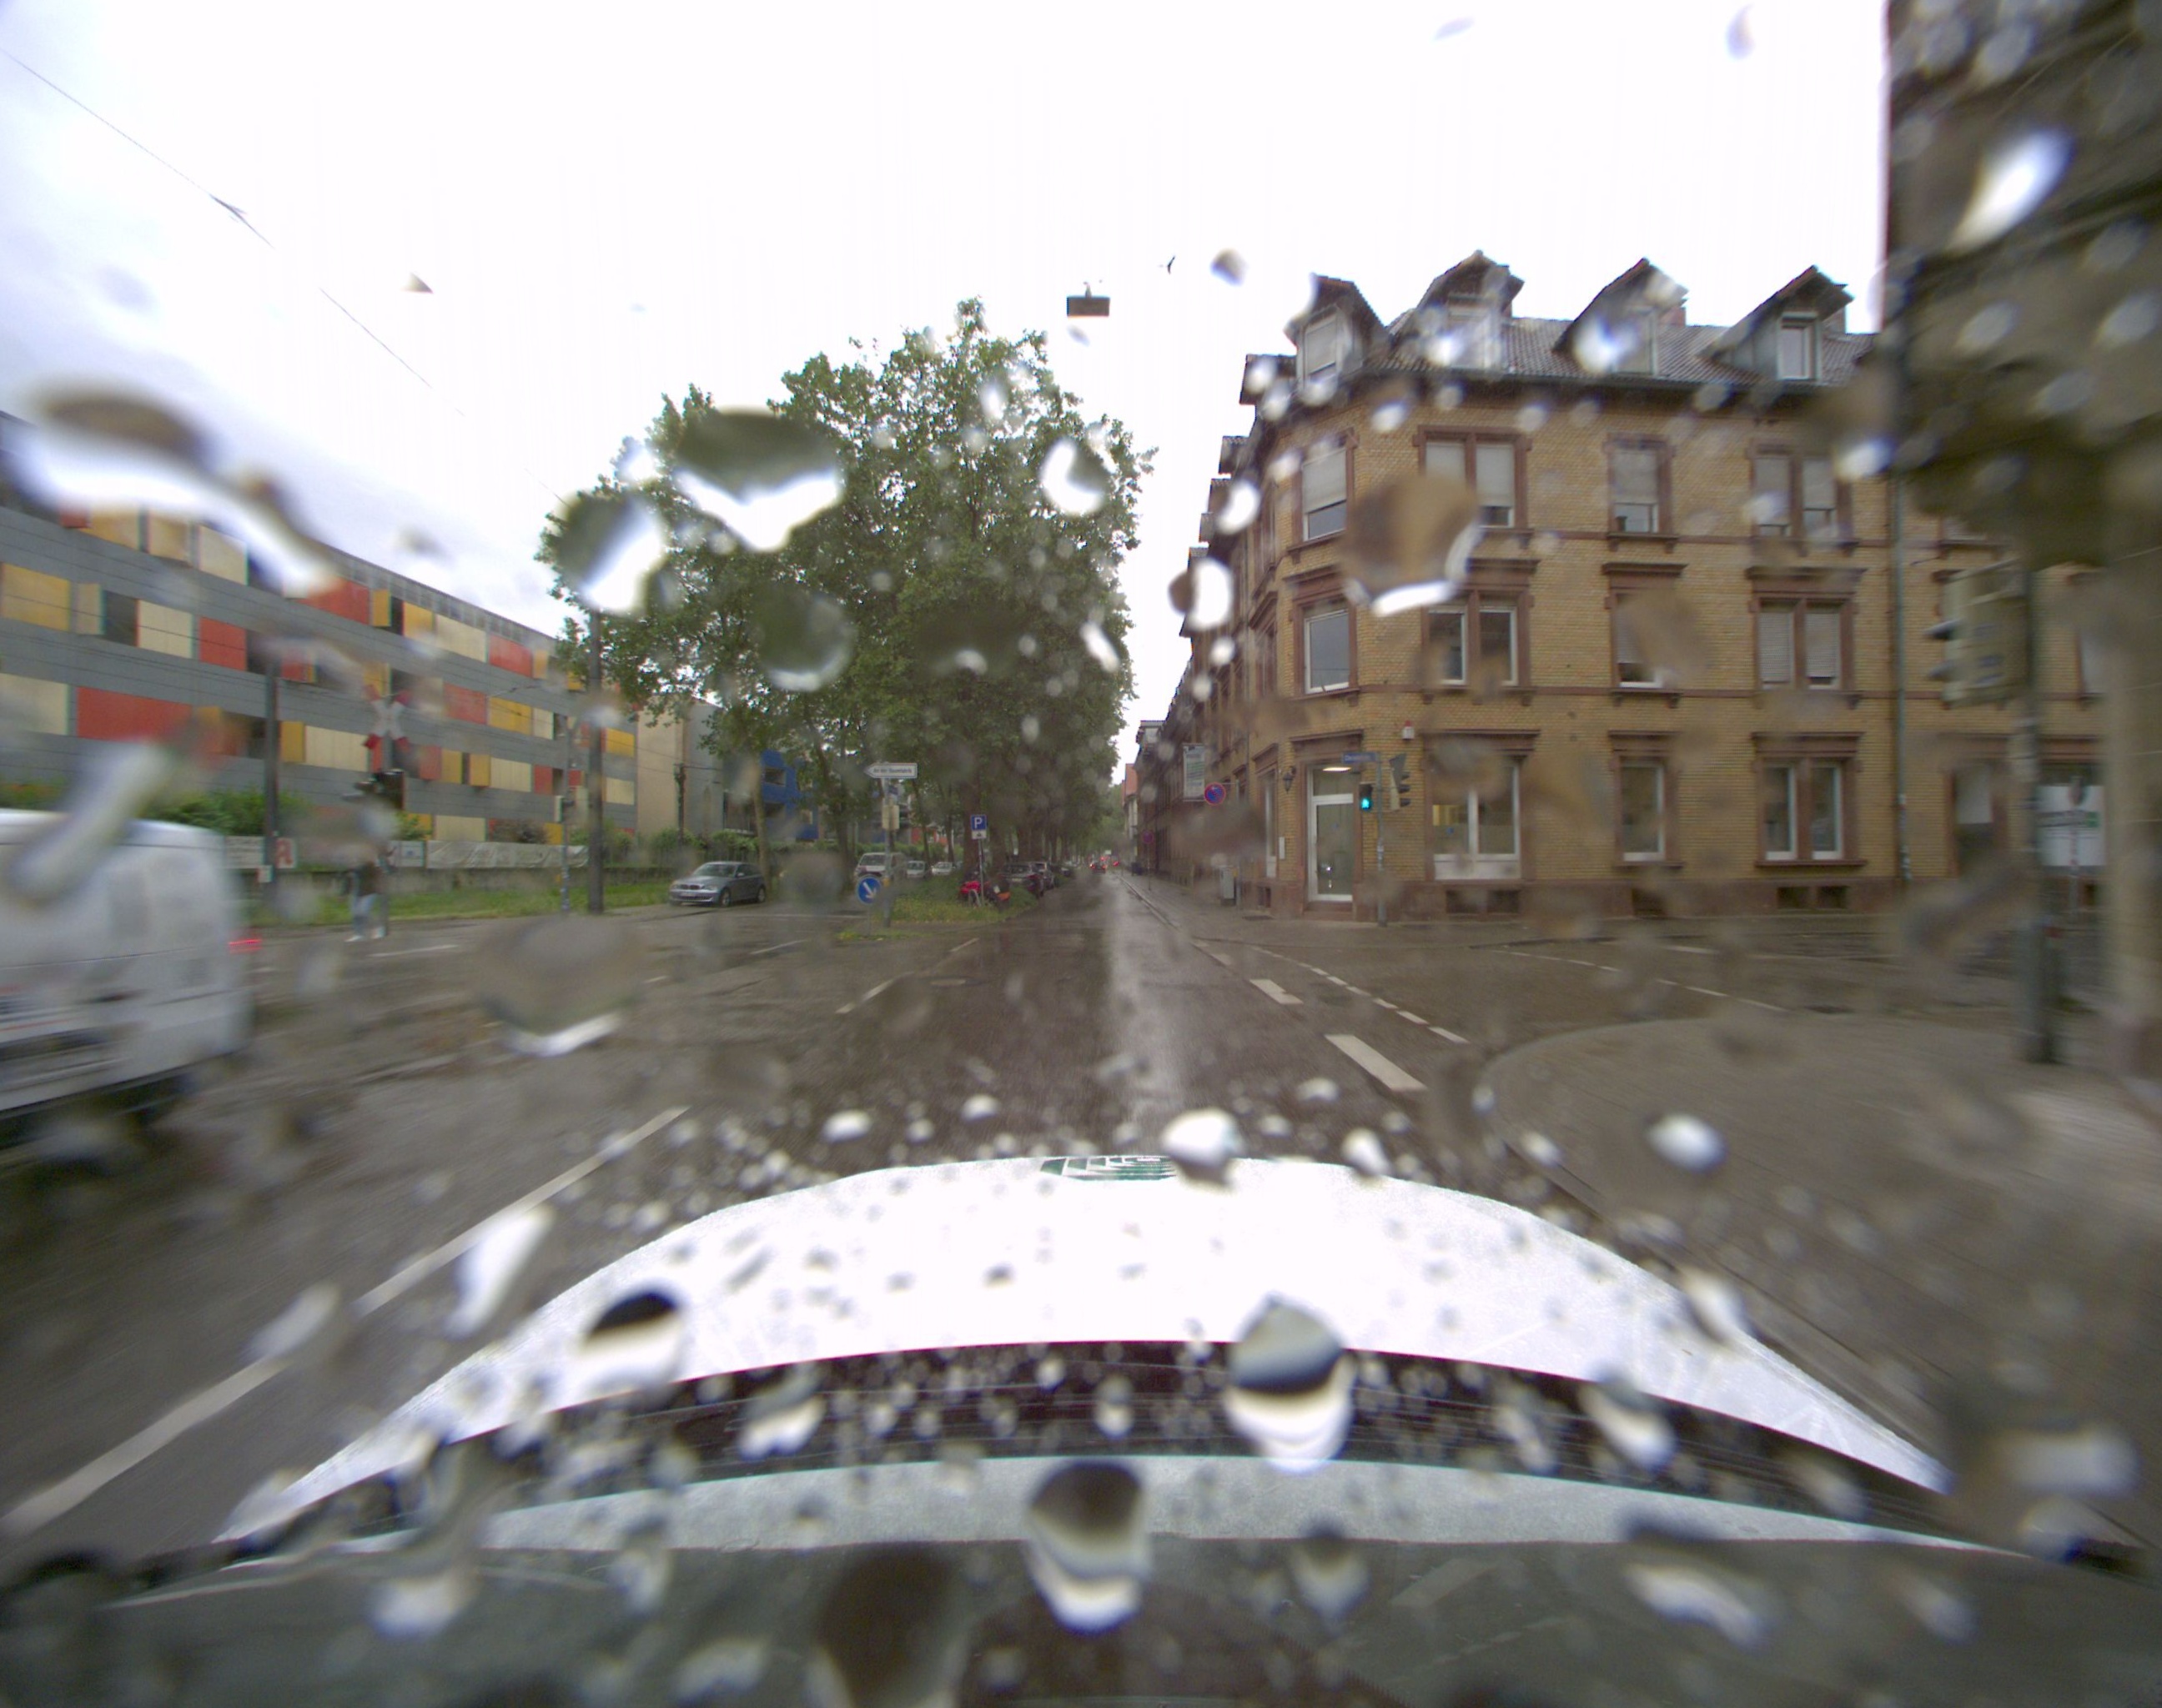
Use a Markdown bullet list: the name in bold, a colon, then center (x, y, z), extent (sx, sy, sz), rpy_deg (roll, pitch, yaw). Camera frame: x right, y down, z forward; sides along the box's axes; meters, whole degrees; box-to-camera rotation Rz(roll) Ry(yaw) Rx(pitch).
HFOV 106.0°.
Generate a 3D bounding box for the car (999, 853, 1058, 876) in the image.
- **car**: center (-3.482, 0.702, 54.070), extent (3.459, 1.436, 1.792), rpy_deg (-1, -1, 28)

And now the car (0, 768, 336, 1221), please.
- **car**: center (-6.496, 0.577, 3.798), extent (4.048, 1.849, 1.934), rpy_deg (0, 0, -7)

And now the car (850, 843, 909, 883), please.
- **car**: center (-11.046, 0.483, 45.138), extent (2.049, 1.997, 5.429), rpy_deg (2, 0, -2)

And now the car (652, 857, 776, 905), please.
- **car**: center (-11.858, 0.825, 26.692), extent (1.896, 1.463, 4.391), rpy_deg (0, 0, 3)

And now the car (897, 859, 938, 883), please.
- **car**: center (-10.850, 1.099, 54.381), extent (1.898, 1.534, 4.215), rpy_deg (0, 0, 0)

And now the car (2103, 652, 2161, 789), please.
- **car**: center (22.717, -2.581, 15.253), extent (4.721, 2.512, 2.120), rpy_deg (-1, -1, -3)

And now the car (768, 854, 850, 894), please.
- **car**: center (-11.447, 0.819, 34.625), extent (1.897, 1.600, 4.468), rpy_deg (0, 0, 1)

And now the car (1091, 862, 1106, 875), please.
- **car**: center (2.305, 1.954, 107.954), extent (1.986, 1.640, 4.000), rpy_deg (0, -1, 1)

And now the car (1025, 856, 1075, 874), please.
- **car**: center (-2.770, 0.978, 72.325), extent (4.013, 1.537, 1.847), rpy_deg (0, 0, 31)

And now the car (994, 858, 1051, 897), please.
- **car**: center (-2.359, 0.908, 33.768), extent (1.889, 1.485, 4.622), rpy_deg (1, 0, 1)

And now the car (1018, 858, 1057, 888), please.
- **car**: center (-2.284, 0.971, 43.388), extent (1.723, 1.514, 4.208), rpy_deg (1, 0, 1)

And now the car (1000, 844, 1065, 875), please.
- **car**: center (-3.650, 0.432, 61.056), extent (4.600, 2.283, 2.024), rpy_deg (-1, -1, 34)

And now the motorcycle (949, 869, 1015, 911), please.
- **motorcycle**: center (-3.046, 1.084, 24.888), extent (0.874, 1.209, 2.116), rpy_deg (2, -1, -44)

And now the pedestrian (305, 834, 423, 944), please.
- **pedestrian**: center (-12.277, 0.581, 13.996), extent (0.932, 1.800, 1.206), rpy_deg (0, -1, 1)

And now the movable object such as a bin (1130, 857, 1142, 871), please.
- **movable object such as a bin**: center (5.499, 1.015, 81.266), extent (1.017, 1.301, 1.367), rpy_deg (-4, 0, 1)

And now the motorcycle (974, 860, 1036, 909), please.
- **motorcycle**: center (-2.411, 0.940, 25.718), extent (2.083, 1.500, 0.776), rpy_deg (0, -1, 44)
